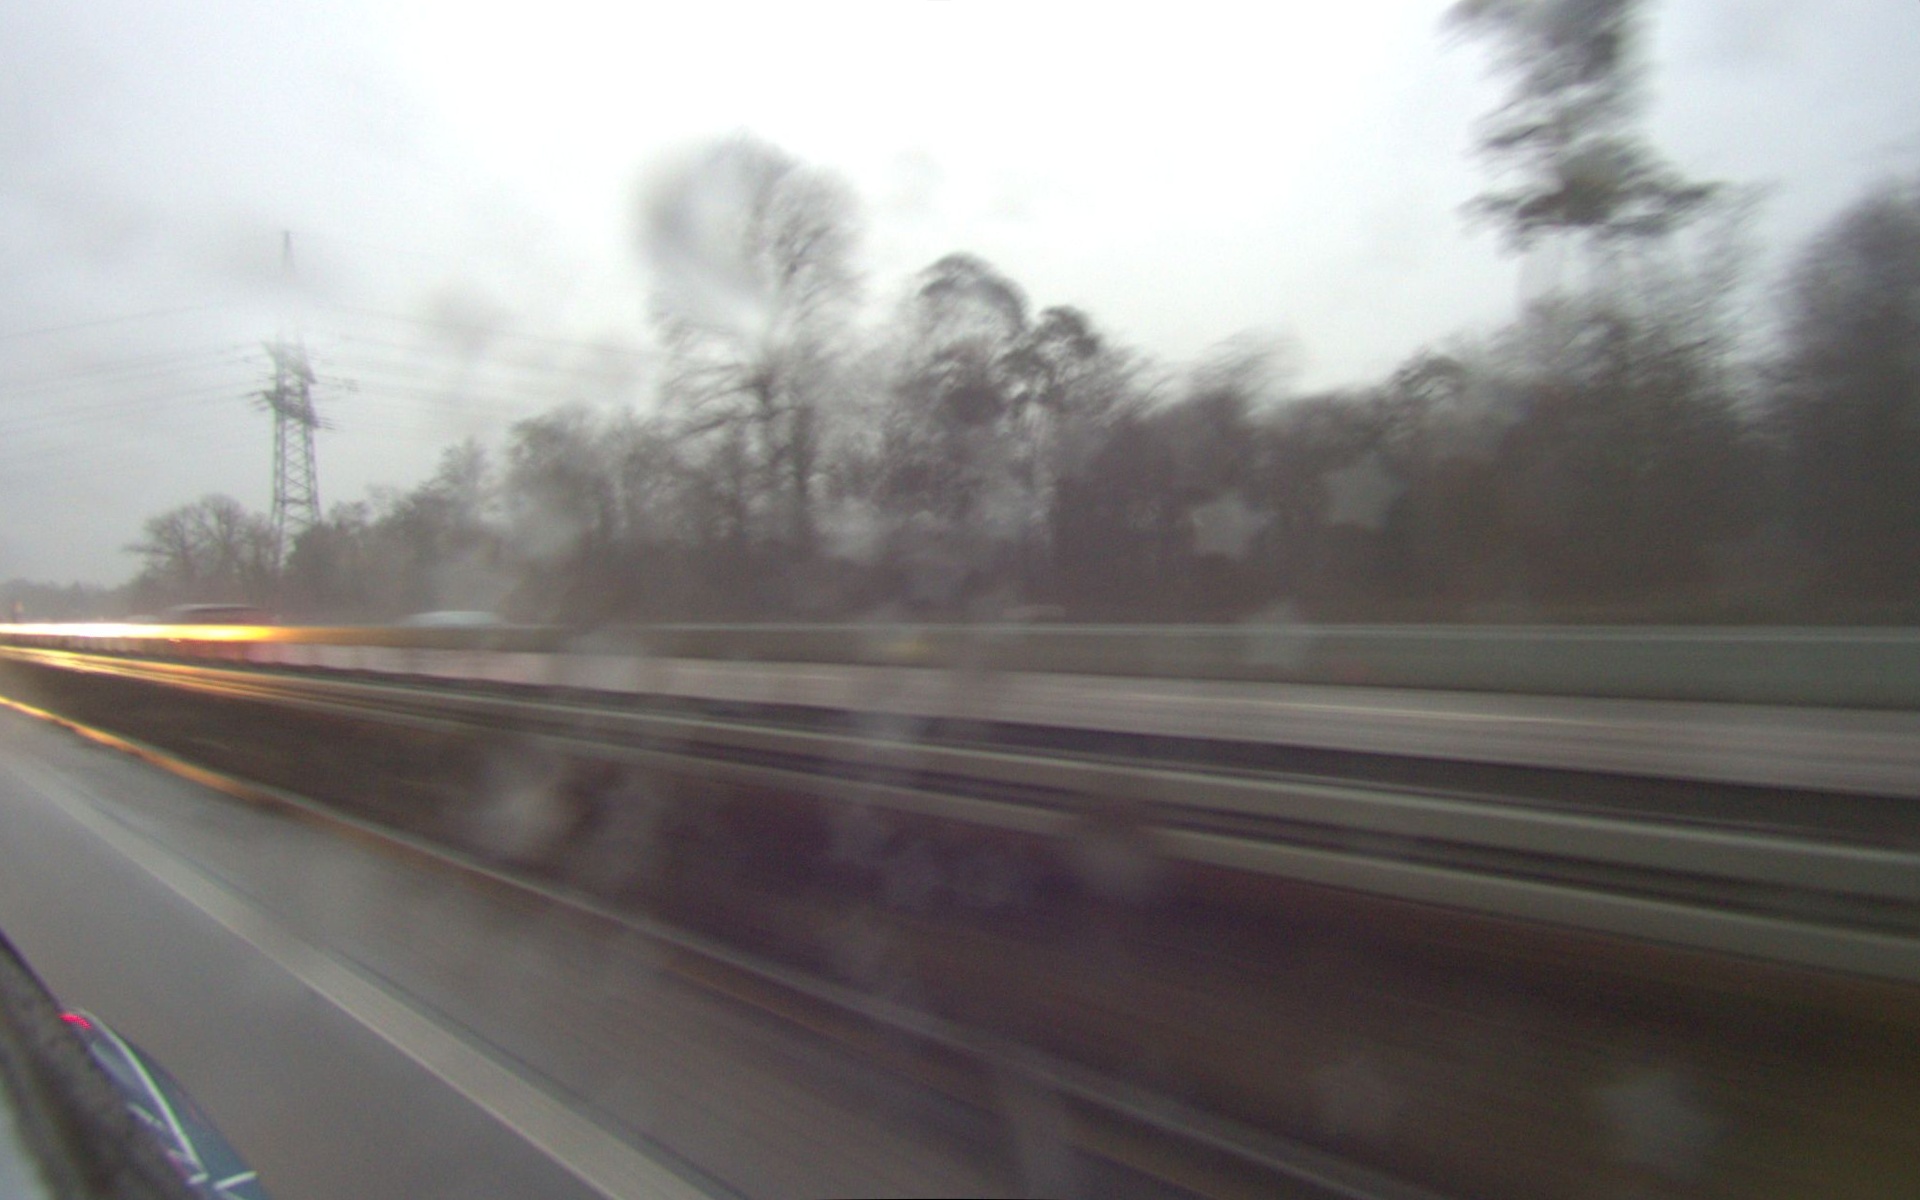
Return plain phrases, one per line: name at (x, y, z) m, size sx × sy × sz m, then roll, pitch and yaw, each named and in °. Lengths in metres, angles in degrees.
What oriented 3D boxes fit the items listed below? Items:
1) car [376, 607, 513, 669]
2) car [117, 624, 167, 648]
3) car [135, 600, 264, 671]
car at (-13.833, 0.976, 27.044) m, size 4.415 × 1.471 × 1.709 m, roll -1°, pitch 1°, yaw 41°
car at (-50.131, 2.205, 61.998) m, size 4.154 × 1.361 × 1.687 m, roll -2°, pitch 0°, yaw 41°
car at (-19.401, 0.852, 25.745) m, size 4.415 × 1.601 × 1.709 m, roll -1°, pitch 1°, yaw 41°
